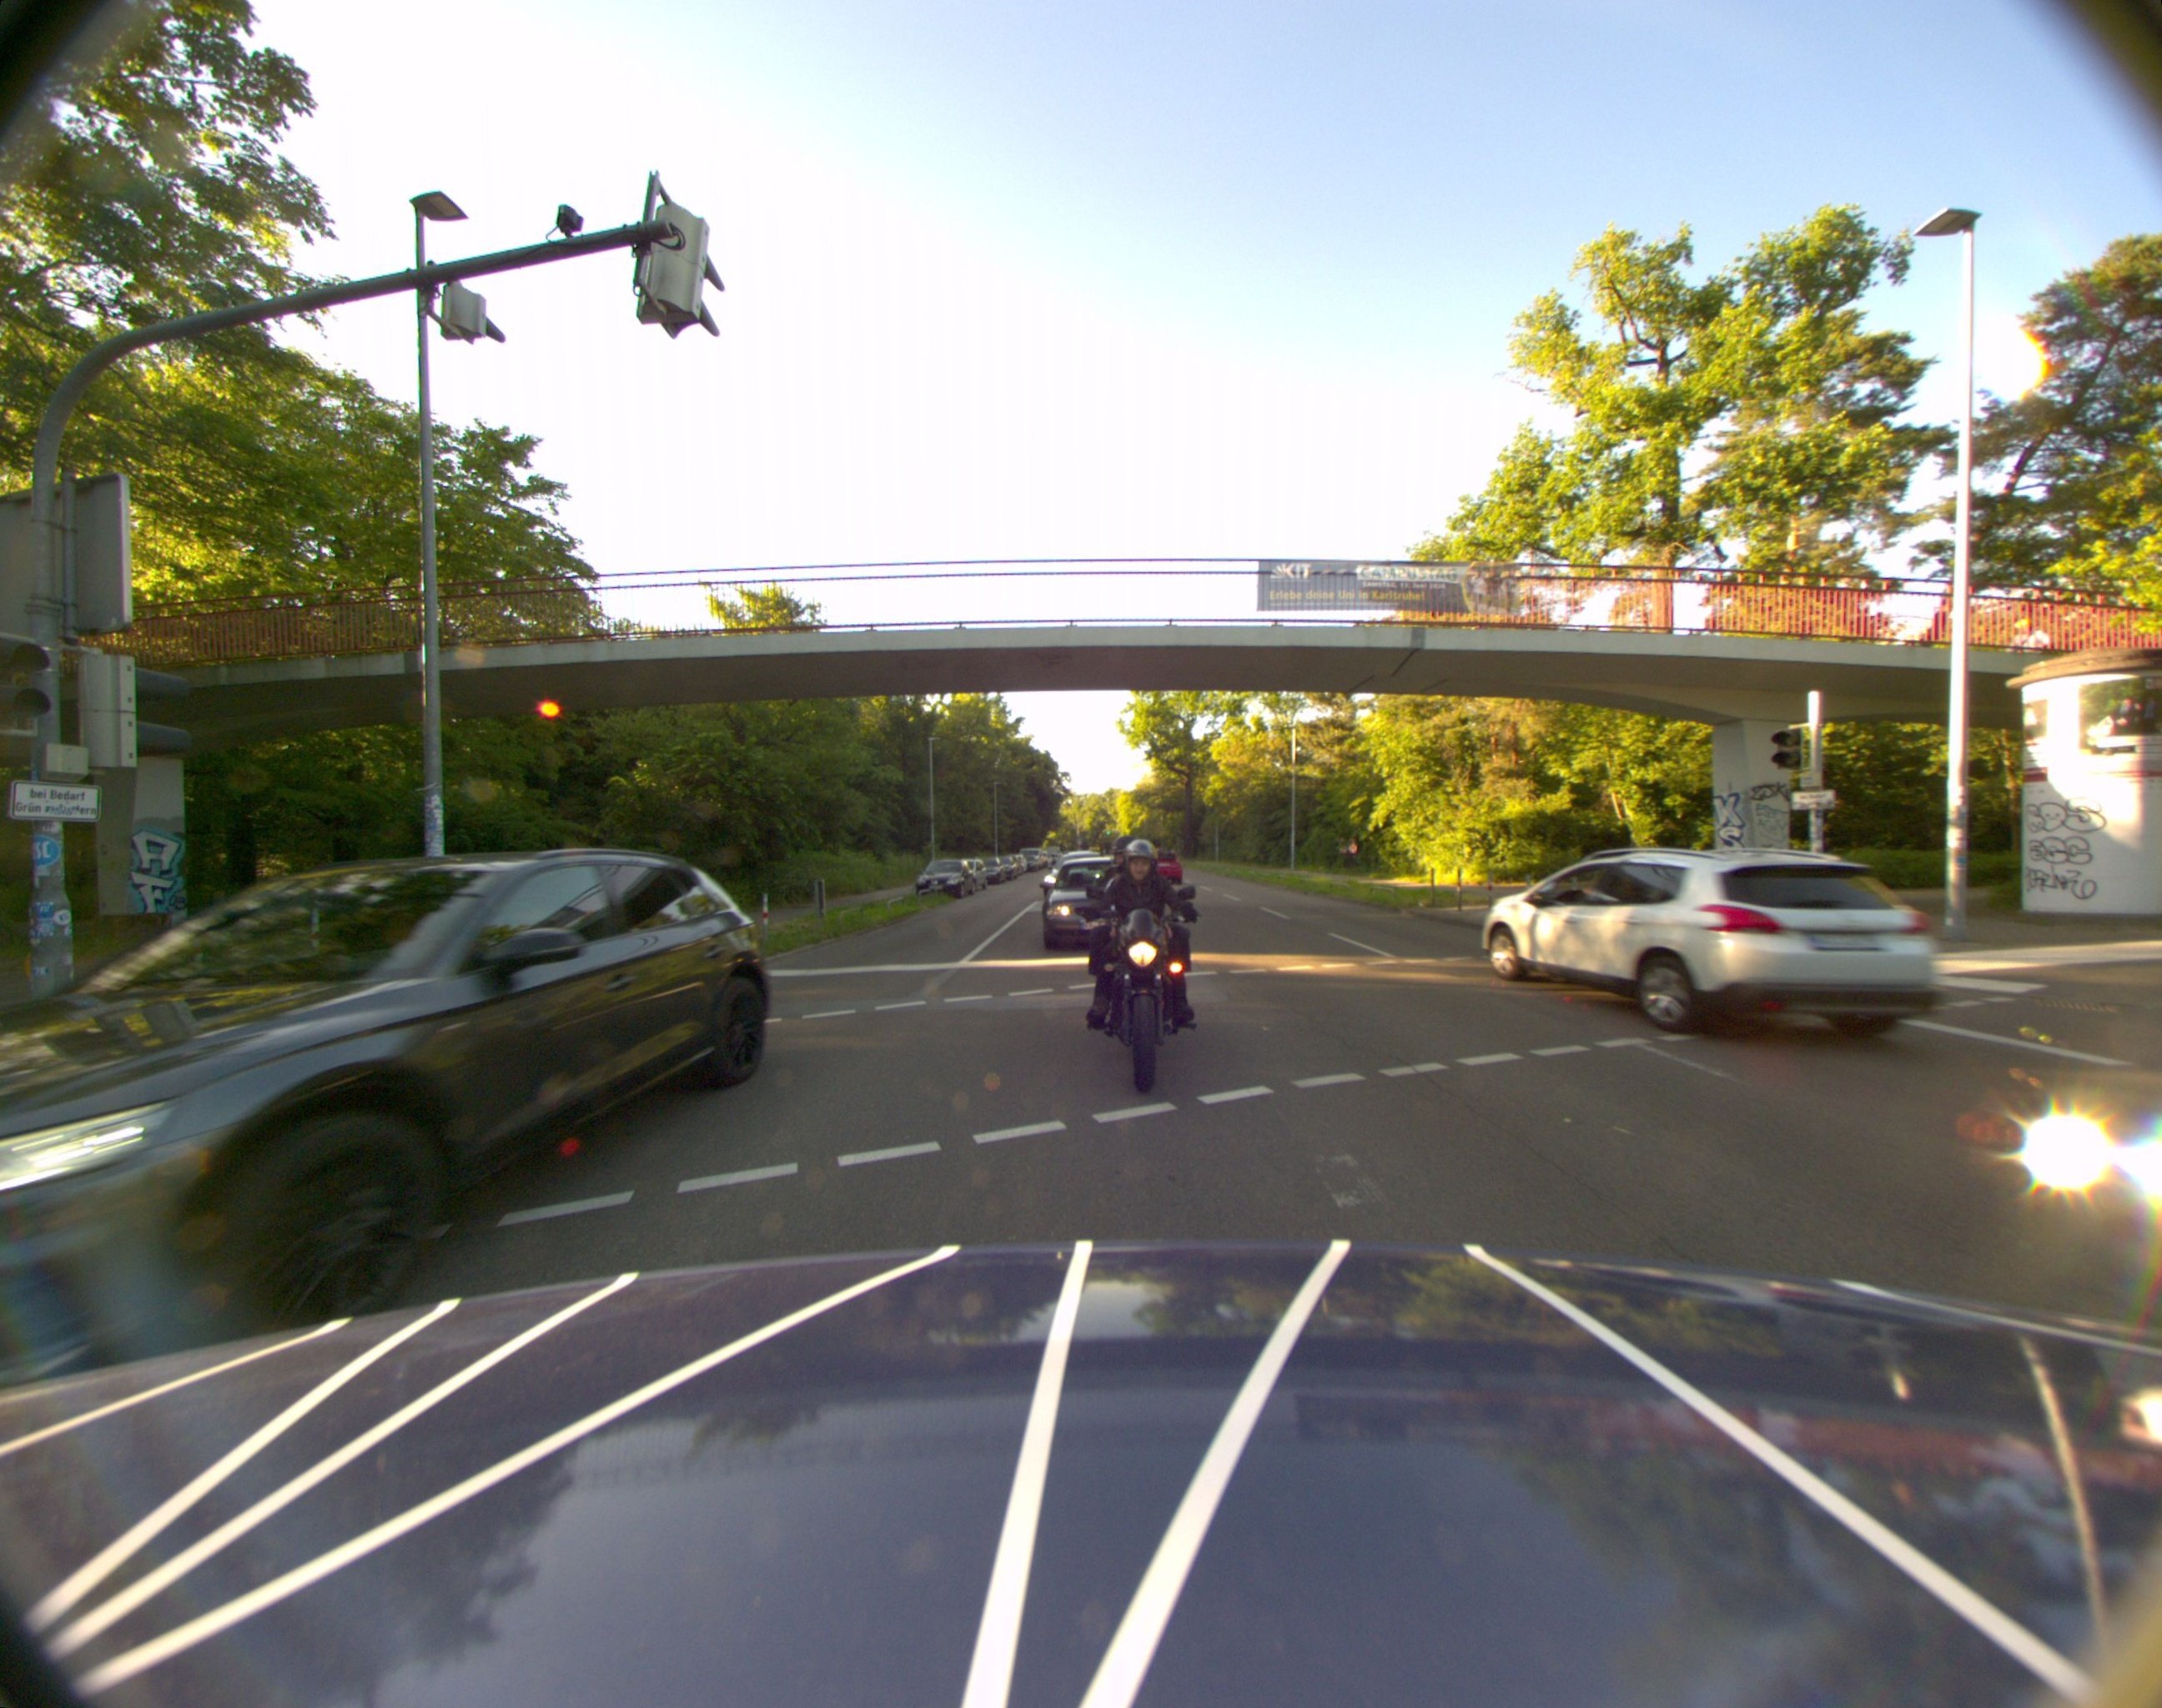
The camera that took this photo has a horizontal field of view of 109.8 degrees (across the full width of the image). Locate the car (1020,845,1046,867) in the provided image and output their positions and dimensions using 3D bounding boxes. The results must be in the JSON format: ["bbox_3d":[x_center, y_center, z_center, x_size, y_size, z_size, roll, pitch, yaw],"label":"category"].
[{"bbox_3d":[-4.386,0.151,70.198,2.017,1.964,5.041,0,1,1],"label":"car"}]

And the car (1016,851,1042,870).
[{"bbox_3d":[-4.319,0.507,63.531,1.736,1.499,4.395,0,1,1],"label":"car"}]

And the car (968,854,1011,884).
[{"bbox_3d":[-4.945,0.792,41.465,1.736,1.499,4.153,0,1,1],"label":"car"}]

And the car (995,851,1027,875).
[{"bbox_3d":[-4.780,0.593,52.523,1.736,1.499,4.226,0,1,1],"label":"car"}]

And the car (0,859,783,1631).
[{"bbox_3d":[-3.329,0.901,3.572,1.993,1.598,4.362,-2,1,1],"label":"car"}]

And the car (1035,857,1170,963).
[{"bbox_3d":[0.348,0.812,12.900,1.867,1.381,4.000,-3,1,1],"label":"car"}]

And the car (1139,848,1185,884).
[{"bbox_3d":[3.564,0.491,33.918,1.754,1.448,3.639,1,1,1],"label":"car"}]

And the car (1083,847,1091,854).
[{"bbox_3d":[1.319,-0.763,169.245,1.894,1.491,4.395,0,1,1],"label":"car"}]

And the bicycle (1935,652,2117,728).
[{"bbox_3d":[20.794,-3.593,16.777,2.446,1.365,1.052,3,2,4],"label":"bicycle"}]

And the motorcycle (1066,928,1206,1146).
[{"bbox_3d":[0.399,1.216,5.827,0.807,0.908,2.712,-1,3,3],"label":"motorcycle"}]

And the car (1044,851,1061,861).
[{"bbox_3d":[-3.664,0.282,98.659,1.915,1.213,3.999,-1,1,1],"label":"car"}]

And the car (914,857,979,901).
[{"bbox_3d":[-5.150,0.911,29.649,1.694,1.499,4.125,-1,1,1],"label":"car"}]

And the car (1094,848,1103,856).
[{"bbox_3d":[2.755,-0.361,120.946,1.465,1.237,4.000,-1,1,1],"label":"car"}]

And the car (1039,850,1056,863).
[{"bbox_3d":[-4.136,0.286,93.743,1.894,1.537,4.395,0,1,1],"label":"car"}]

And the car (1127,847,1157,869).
[{"bbox_3d":[4.466,0.230,56.202,1.966,1.497,4.646,0,1,1],"label":"car"}]

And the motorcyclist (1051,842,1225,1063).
[{"bbox_3d":[0.408,0.654,5.851,1.138,1.420,1.566,-1,3,2],"label":"motorcyclist"}]

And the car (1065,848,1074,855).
[{"bbox_3d":[-2.223,-0.552,148.489,1.736,1.237,4.000,-1,1,1],"label":"car"}]

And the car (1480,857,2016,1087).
[{"bbox_3d":[5.651,0.825,7.233,1.681,1.515,3.901,1,1,1],"label":"car"}]

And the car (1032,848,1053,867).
[{"bbox_3d":[-4.137,0.349,82.376,1.951,1.964,4.395,0,1,1],"label":"car"}]

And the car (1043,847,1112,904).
[{"bbox_3d":[-0.088,0.607,25.442,1.998,1.625,5.885,-1,1,0],"label":"car"}]

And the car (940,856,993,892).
[{"bbox_3d":[-5.130,0.862,34.431,1.720,1.499,3.975,0,1,1],"label":"car"}]

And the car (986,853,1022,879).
[{"bbox_3d":[-4.699,0.727,46.983,1.704,1.499,4.136,0,1,1],"label":"car"}]

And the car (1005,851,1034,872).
[{"bbox_3d":[-4.643,0.554,57.805,1.736,1.499,4.395,0,1,1],"label":"car"}]

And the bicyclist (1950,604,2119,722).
[{"bbox_3d":[20.856,-4.135,16.687,1.682,2.157,1.412,4,2,3],"label":"bicyclist"}]
